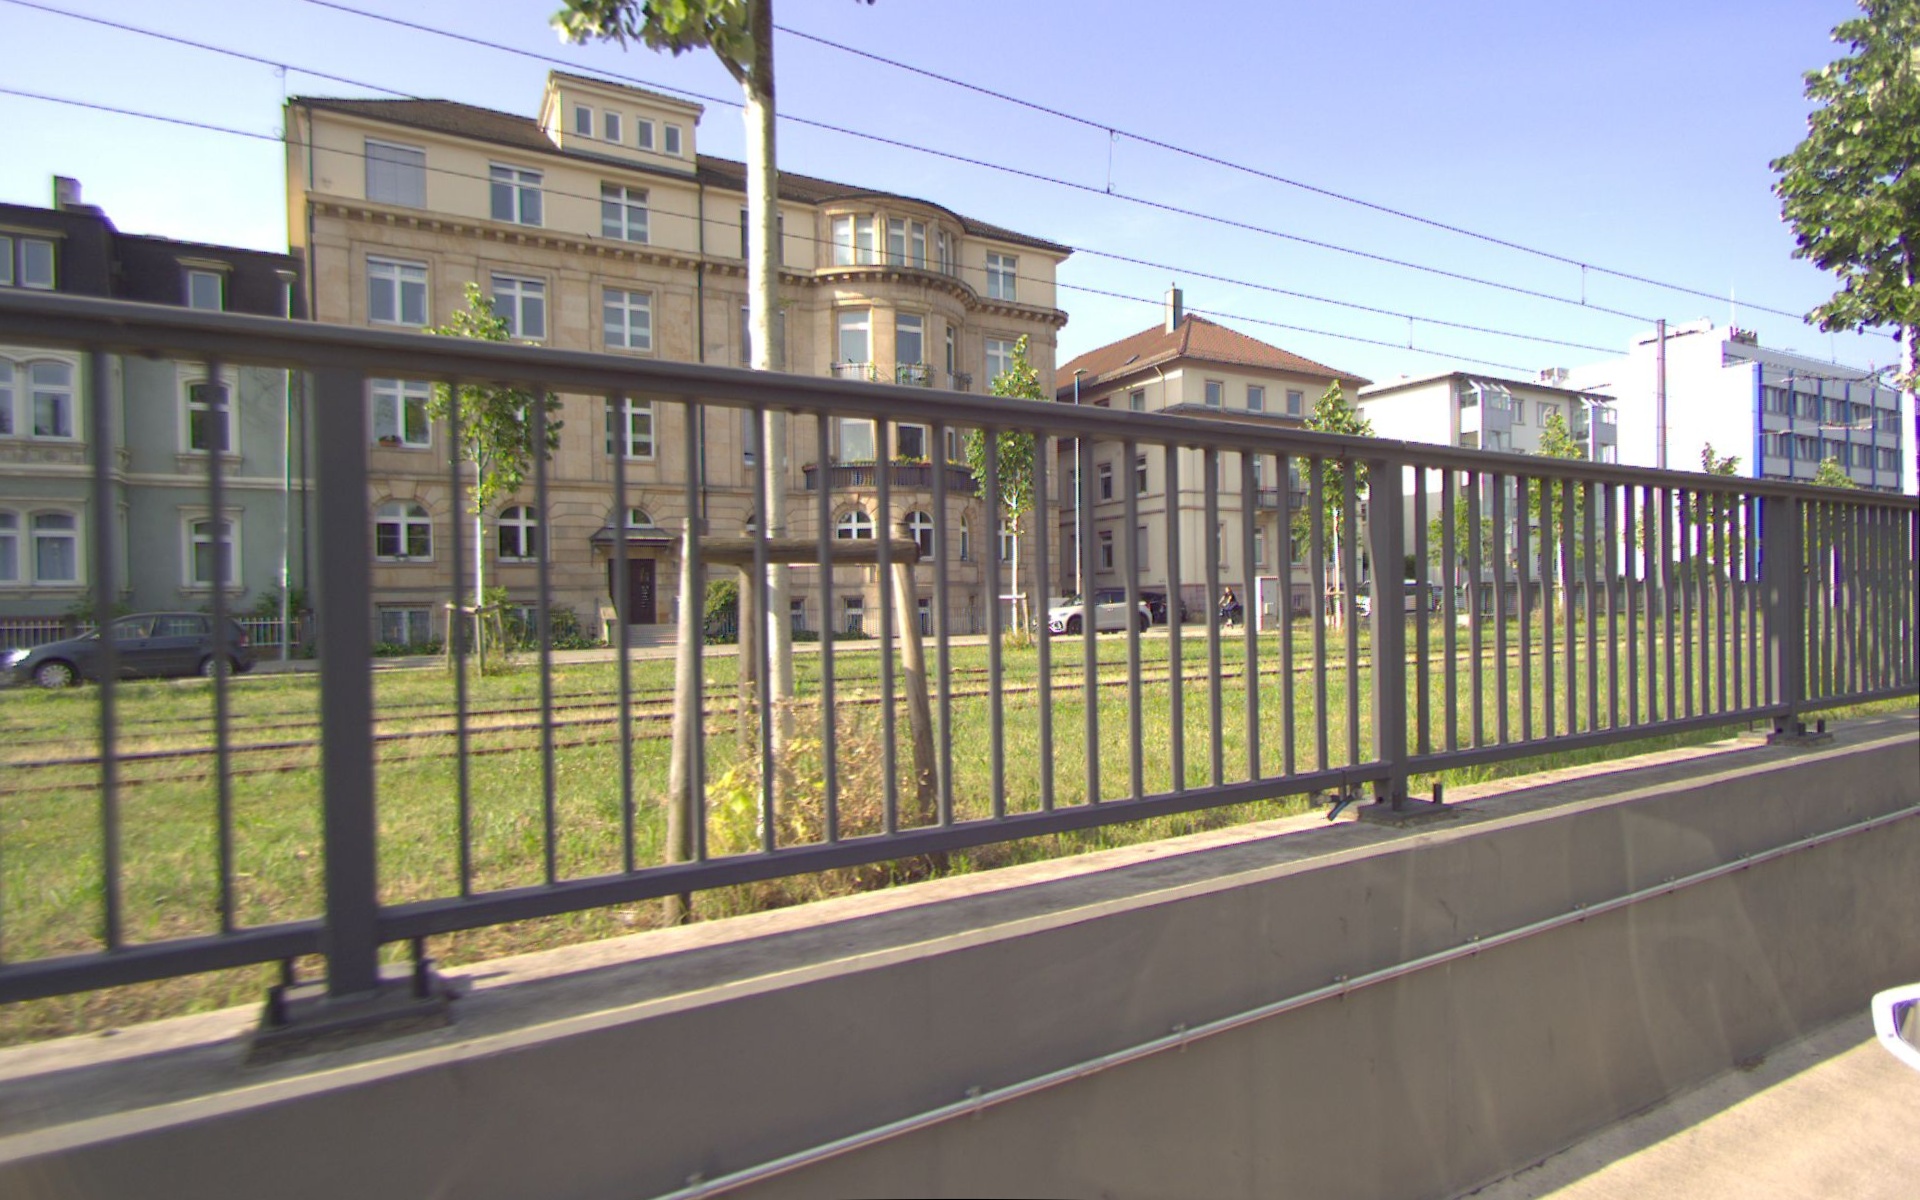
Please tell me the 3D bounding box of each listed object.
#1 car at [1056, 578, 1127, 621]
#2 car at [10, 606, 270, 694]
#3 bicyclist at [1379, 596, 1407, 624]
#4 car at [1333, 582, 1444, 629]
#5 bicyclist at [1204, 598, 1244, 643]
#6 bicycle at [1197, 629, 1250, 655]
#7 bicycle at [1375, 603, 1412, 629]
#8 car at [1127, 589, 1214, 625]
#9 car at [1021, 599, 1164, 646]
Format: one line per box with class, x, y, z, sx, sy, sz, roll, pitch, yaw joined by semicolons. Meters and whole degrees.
car;6.746;-0.062;51.971;1.581;2.041;3.905;1;1;-28
car;-16.186;0.935;20.089;3.780;1.483;1.511;-2;1;-31
bicyclist;19.403;0.452;45.011;1.237;1.194;0.529;1;2;-32
car;20.502;0.282;47.973;5.203;2.041;2.237;1;1;-31
bicyclist;10.517;0.829;39.984;1.497;1.715;0.471;2;4;-30
bicycle;10.532;1.676;40.087;2.120;0.939;0.657;2;4;-29
bicycle;19.475;0.703;45.069;1.855;1.107;0.529;2;1;-32
car;9.571;0.336;45.940;1.636;1.573;3.964;-1;0;-33
car;4.409;0.746;33.192;4.385;1.486;1.984;1;0;-30
